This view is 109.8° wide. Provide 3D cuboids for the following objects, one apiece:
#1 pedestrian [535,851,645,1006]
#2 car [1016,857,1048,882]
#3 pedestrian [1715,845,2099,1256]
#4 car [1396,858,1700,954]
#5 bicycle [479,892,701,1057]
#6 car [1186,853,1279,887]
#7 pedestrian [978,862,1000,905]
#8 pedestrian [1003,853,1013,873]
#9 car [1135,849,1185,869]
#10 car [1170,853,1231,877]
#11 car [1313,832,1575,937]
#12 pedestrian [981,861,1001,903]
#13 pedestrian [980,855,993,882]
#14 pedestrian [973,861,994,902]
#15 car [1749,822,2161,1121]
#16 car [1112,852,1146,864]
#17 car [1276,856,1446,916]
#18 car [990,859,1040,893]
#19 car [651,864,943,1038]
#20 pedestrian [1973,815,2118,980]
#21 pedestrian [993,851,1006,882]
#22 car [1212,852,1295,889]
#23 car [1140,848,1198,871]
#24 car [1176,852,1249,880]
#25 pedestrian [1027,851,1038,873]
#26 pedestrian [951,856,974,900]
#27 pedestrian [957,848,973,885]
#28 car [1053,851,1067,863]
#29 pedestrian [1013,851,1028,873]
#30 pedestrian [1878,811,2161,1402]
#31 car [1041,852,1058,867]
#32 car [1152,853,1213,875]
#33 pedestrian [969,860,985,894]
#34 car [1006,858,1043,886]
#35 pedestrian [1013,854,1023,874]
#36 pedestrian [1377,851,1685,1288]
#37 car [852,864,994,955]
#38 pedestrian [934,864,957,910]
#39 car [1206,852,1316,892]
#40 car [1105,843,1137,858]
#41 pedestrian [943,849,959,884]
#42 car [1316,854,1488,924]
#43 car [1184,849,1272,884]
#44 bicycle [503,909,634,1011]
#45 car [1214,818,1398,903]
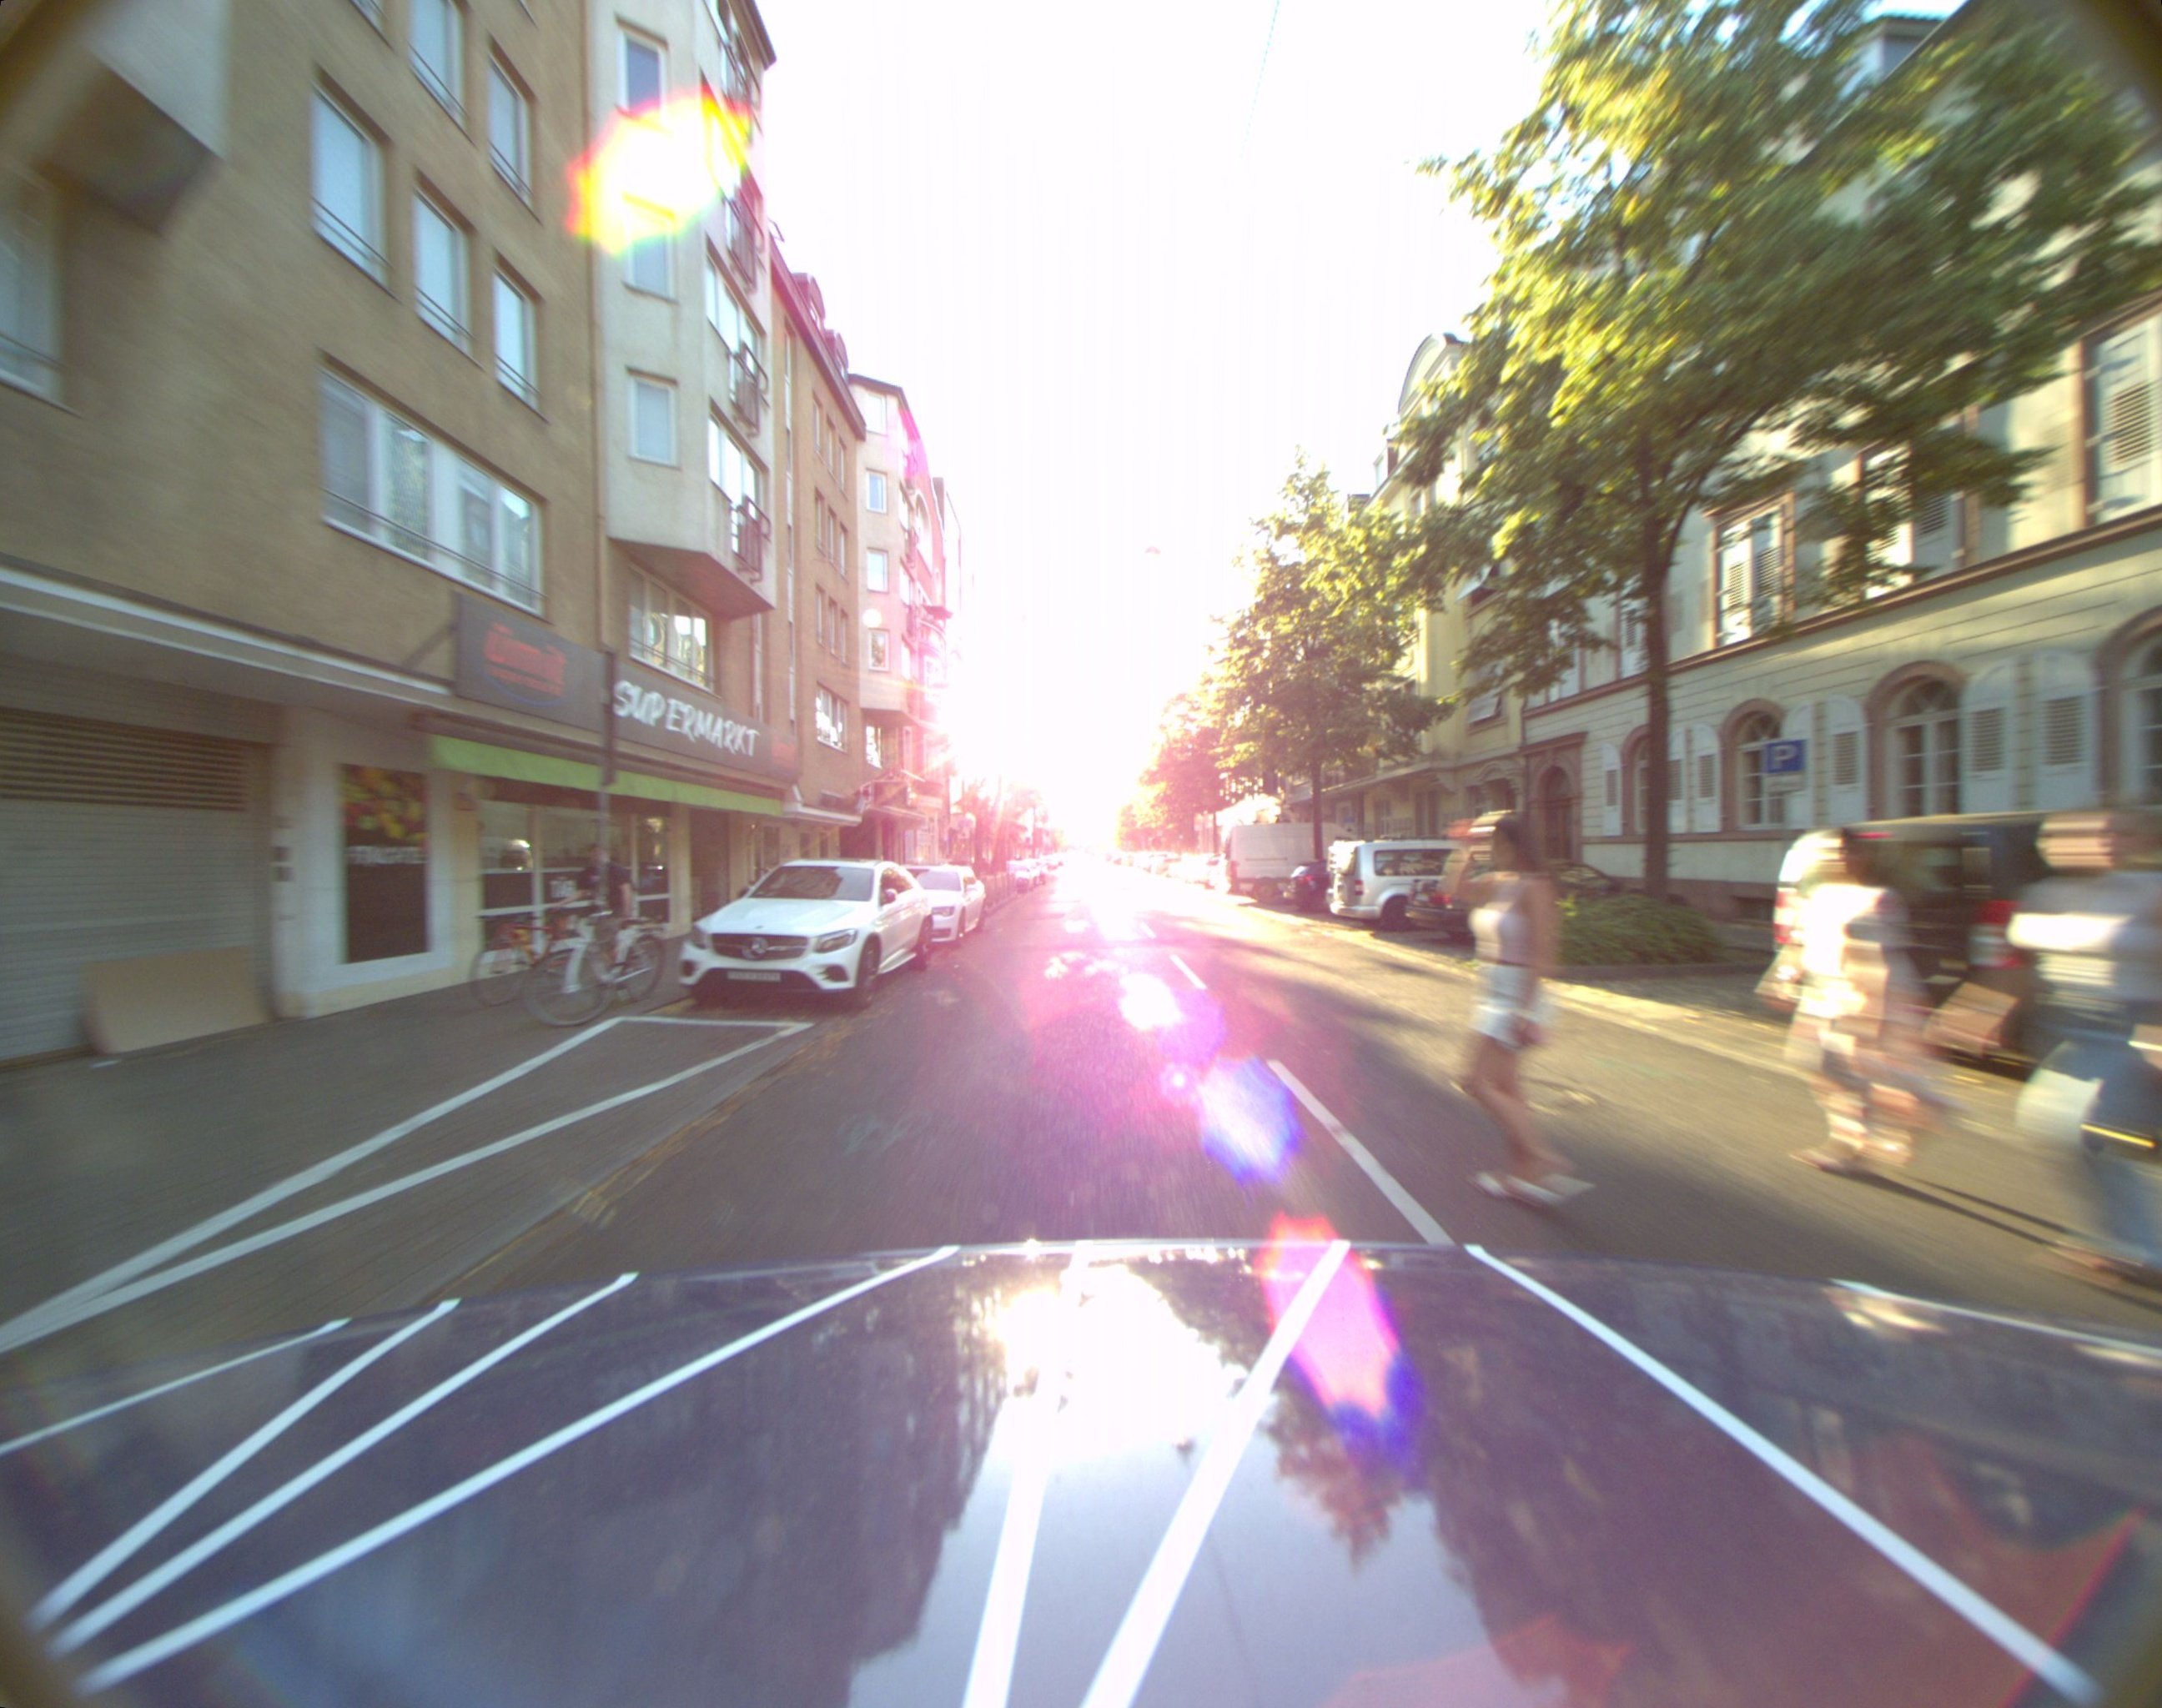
[{"bbox_3d":[-5.570,0.814,8.659,0.790,1.694,0.700,0,1,0],"label":"pedestrian"},{"bbox_3d":[-3.103,0.974,48.925,1.727,1.484,4.752,1,0,-1],"label":"car"},{"bbox_3d":[3.695,0.807,3.492,0.924,1.685,0.762,0,1,1],"label":"pedestrian"},{"bbox_3d":[7.788,0.842,12.952,4.162,1.431,1.594,-1,0,1],"label":"car"},{"bbox_3d":[-4.615,1.061,7.371,0.777,1.255,2.050,1,0,1],"label":"bicycle"},{"bbox_3d":[7.515,0.757,37.898,4.197,1.474,1.970,-2,0,-1],"label":"car"},{"bbox_3d":[-2.827,0.898,23.445,0.579,1.311,0.704,1,1,0],"label":"pedestrian"},{"bbox_3d":[-6.247,0.758,65.031,0.756,1.748,0.812,-1,1,0],"label":"pedestrian"},{"bbox_3d":[7.517,0.475,72.373,4.568,1.772,1.946,-1,1,-1],"label":"car"},{"bbox_3d":[7.887,0.719,50.502,3.794,1.440,1.789,-3,0,2],"label":"car"},{"bbox_3d":[7.370,0.599,15.795,4.511,1.942,1.919,-1,0,2],"label":"car"},{"bbox_3d":[-2.968,0.917,25.141,0.579,1.376,0.603,1,1,0],"label":"pedestrian"},{"bbox_3d":[-5.163,0.789,41.479,0.626,1.480,0.640,0,1,1],"label":"pedestrian"},{"bbox_3d":[-3.606,0.990,28.055,0.633,1.476,0.795,1,0,0],"label":"pedestrian"},{"bbox_3d":[7.684,0.686,5.444,4.148,1.796,1.807,-1,0,2],"label":"car"},{"bbox_3d":[6.675,0.564,105.885,4.579,1.548,1.809,-1,0,-38],"label":"car"},{"bbox_3d":[7.595,0.847,20.860,3.997,1.396,1.749,-2,1,-1],"label":"car"},{"bbox_3d":[-3.122,1.022,36.762,1.779,1.431,5.000,1,0,2],"label":"car"},{"bbox_3d":[-3.172,0.967,9.672,1.884,1.565,4.691,1,0,1],"label":"car"},{"bbox_3d":[10.967,0.477,8.668,0.664,1.791,0.780,-1,1,0],"label":"pedestrian"},{"bbox_3d":[-4.469,0.687,41.778,0.626,1.667,0.640,0,1,1],"label":"pedestrian"},{"bbox_3d":[7.888,0.748,34.993,3.415,1.501,1.847,-2,0,3],"label":"car"},{"bbox_3d":[7.572,0.465,65.627,4.718,1.800,2.053,-2,0,1],"label":"car"},{"bbox_3d":[7.826,0.728,45.430,3.926,1.440,1.696,-3,0,-2],"label":"car"},{"bbox_3d":[-3.918,0.648,61.667,0.731,1.775,0.870,3,1,0],"label":"pedestrian"},{"bbox_3d":[-4.363,0.860,28.072,0.709,1.589,0.795,1,0,0],"label":"pedestrian"},{"bbox_3d":[-5.960,0.627,39.113,0.627,1.857,0.976,2,1,0],"label":"pedestrian"},{"bbox_3d":[-3.366,0.447,122.163,1.868,1.900,4.256,2,0,3],"label":"car"},{"bbox_3d":[-4.911,0.623,61.667,1.049,1.775,0.945,2,1,0],"label":"pedestrian"},{"bbox_3d":[3.623,0.751,2.616,0.924,1.749,0.762,0,1,1],"label":"pedestrian"},{"bbox_3d":[-3.738,0.656,91.292,1.759,1.638,3.793,2,0,0],"label":"car"},{"bbox_3d":[7.702,0.741,57.856,4.393,1.414,1.822,-2,0,0],"label":"car"},{"bbox_3d":[-4.143,0.922,30.294,0.549,1.337,0.438,1,1,0],"label":"pedestrian"},{"bbox_3d":[-3.168,0.980,43.242,1.779,1.462,4.417,1,0,-1],"label":"car"},{"bbox_3d":[-5.352,0.847,64.730,0.756,1.748,0.812,-1,1,0],"label":"pedestrian"},{"bbox_3d":[1.832,0.806,3.241,0.829,1.629,0.827,0,1,1],"label":"pedestrian"},{"bbox_3d":[-3.036,0.994,15.768,1.846,1.472,5.189,1,0,0],"label":"car"},{"bbox_3d":[-4.207,1.014,23.557,0.579,1.376,0.603,1,1,0],"label":"pedestrian"},{"bbox_3d":[7.620,0.758,32.470,4.224,1.497,1.793,-2,0,0],"label":"car"},{"bbox_3d":[6.507,-0.540,122.828,4.782,2.344,2.153,-1,0,-28],"label":"car"},{"bbox_3d":[-6.696,0.645,39.169,0.590,1.799,0.835,2,1,0],"label":"pedestrian"},{"bbox_3d":[7.653,0.811,18.324,3.379,1.458,1.712,-2,0,-4],"label":"car"},{"bbox_3d":[7.861,0.663,40.744,4.242,1.641,1.892,-2,0,-4],"label":"car"},{"bbox_3d":[-5.836,1.169,8.748,0.460,0.952,1.549,0,0,0],"label":"bicycle"},{"bbox_3d":[7.698,0.206,26.411,5.673,2.606,2.171,-2,0,0],"label":"car"}]
